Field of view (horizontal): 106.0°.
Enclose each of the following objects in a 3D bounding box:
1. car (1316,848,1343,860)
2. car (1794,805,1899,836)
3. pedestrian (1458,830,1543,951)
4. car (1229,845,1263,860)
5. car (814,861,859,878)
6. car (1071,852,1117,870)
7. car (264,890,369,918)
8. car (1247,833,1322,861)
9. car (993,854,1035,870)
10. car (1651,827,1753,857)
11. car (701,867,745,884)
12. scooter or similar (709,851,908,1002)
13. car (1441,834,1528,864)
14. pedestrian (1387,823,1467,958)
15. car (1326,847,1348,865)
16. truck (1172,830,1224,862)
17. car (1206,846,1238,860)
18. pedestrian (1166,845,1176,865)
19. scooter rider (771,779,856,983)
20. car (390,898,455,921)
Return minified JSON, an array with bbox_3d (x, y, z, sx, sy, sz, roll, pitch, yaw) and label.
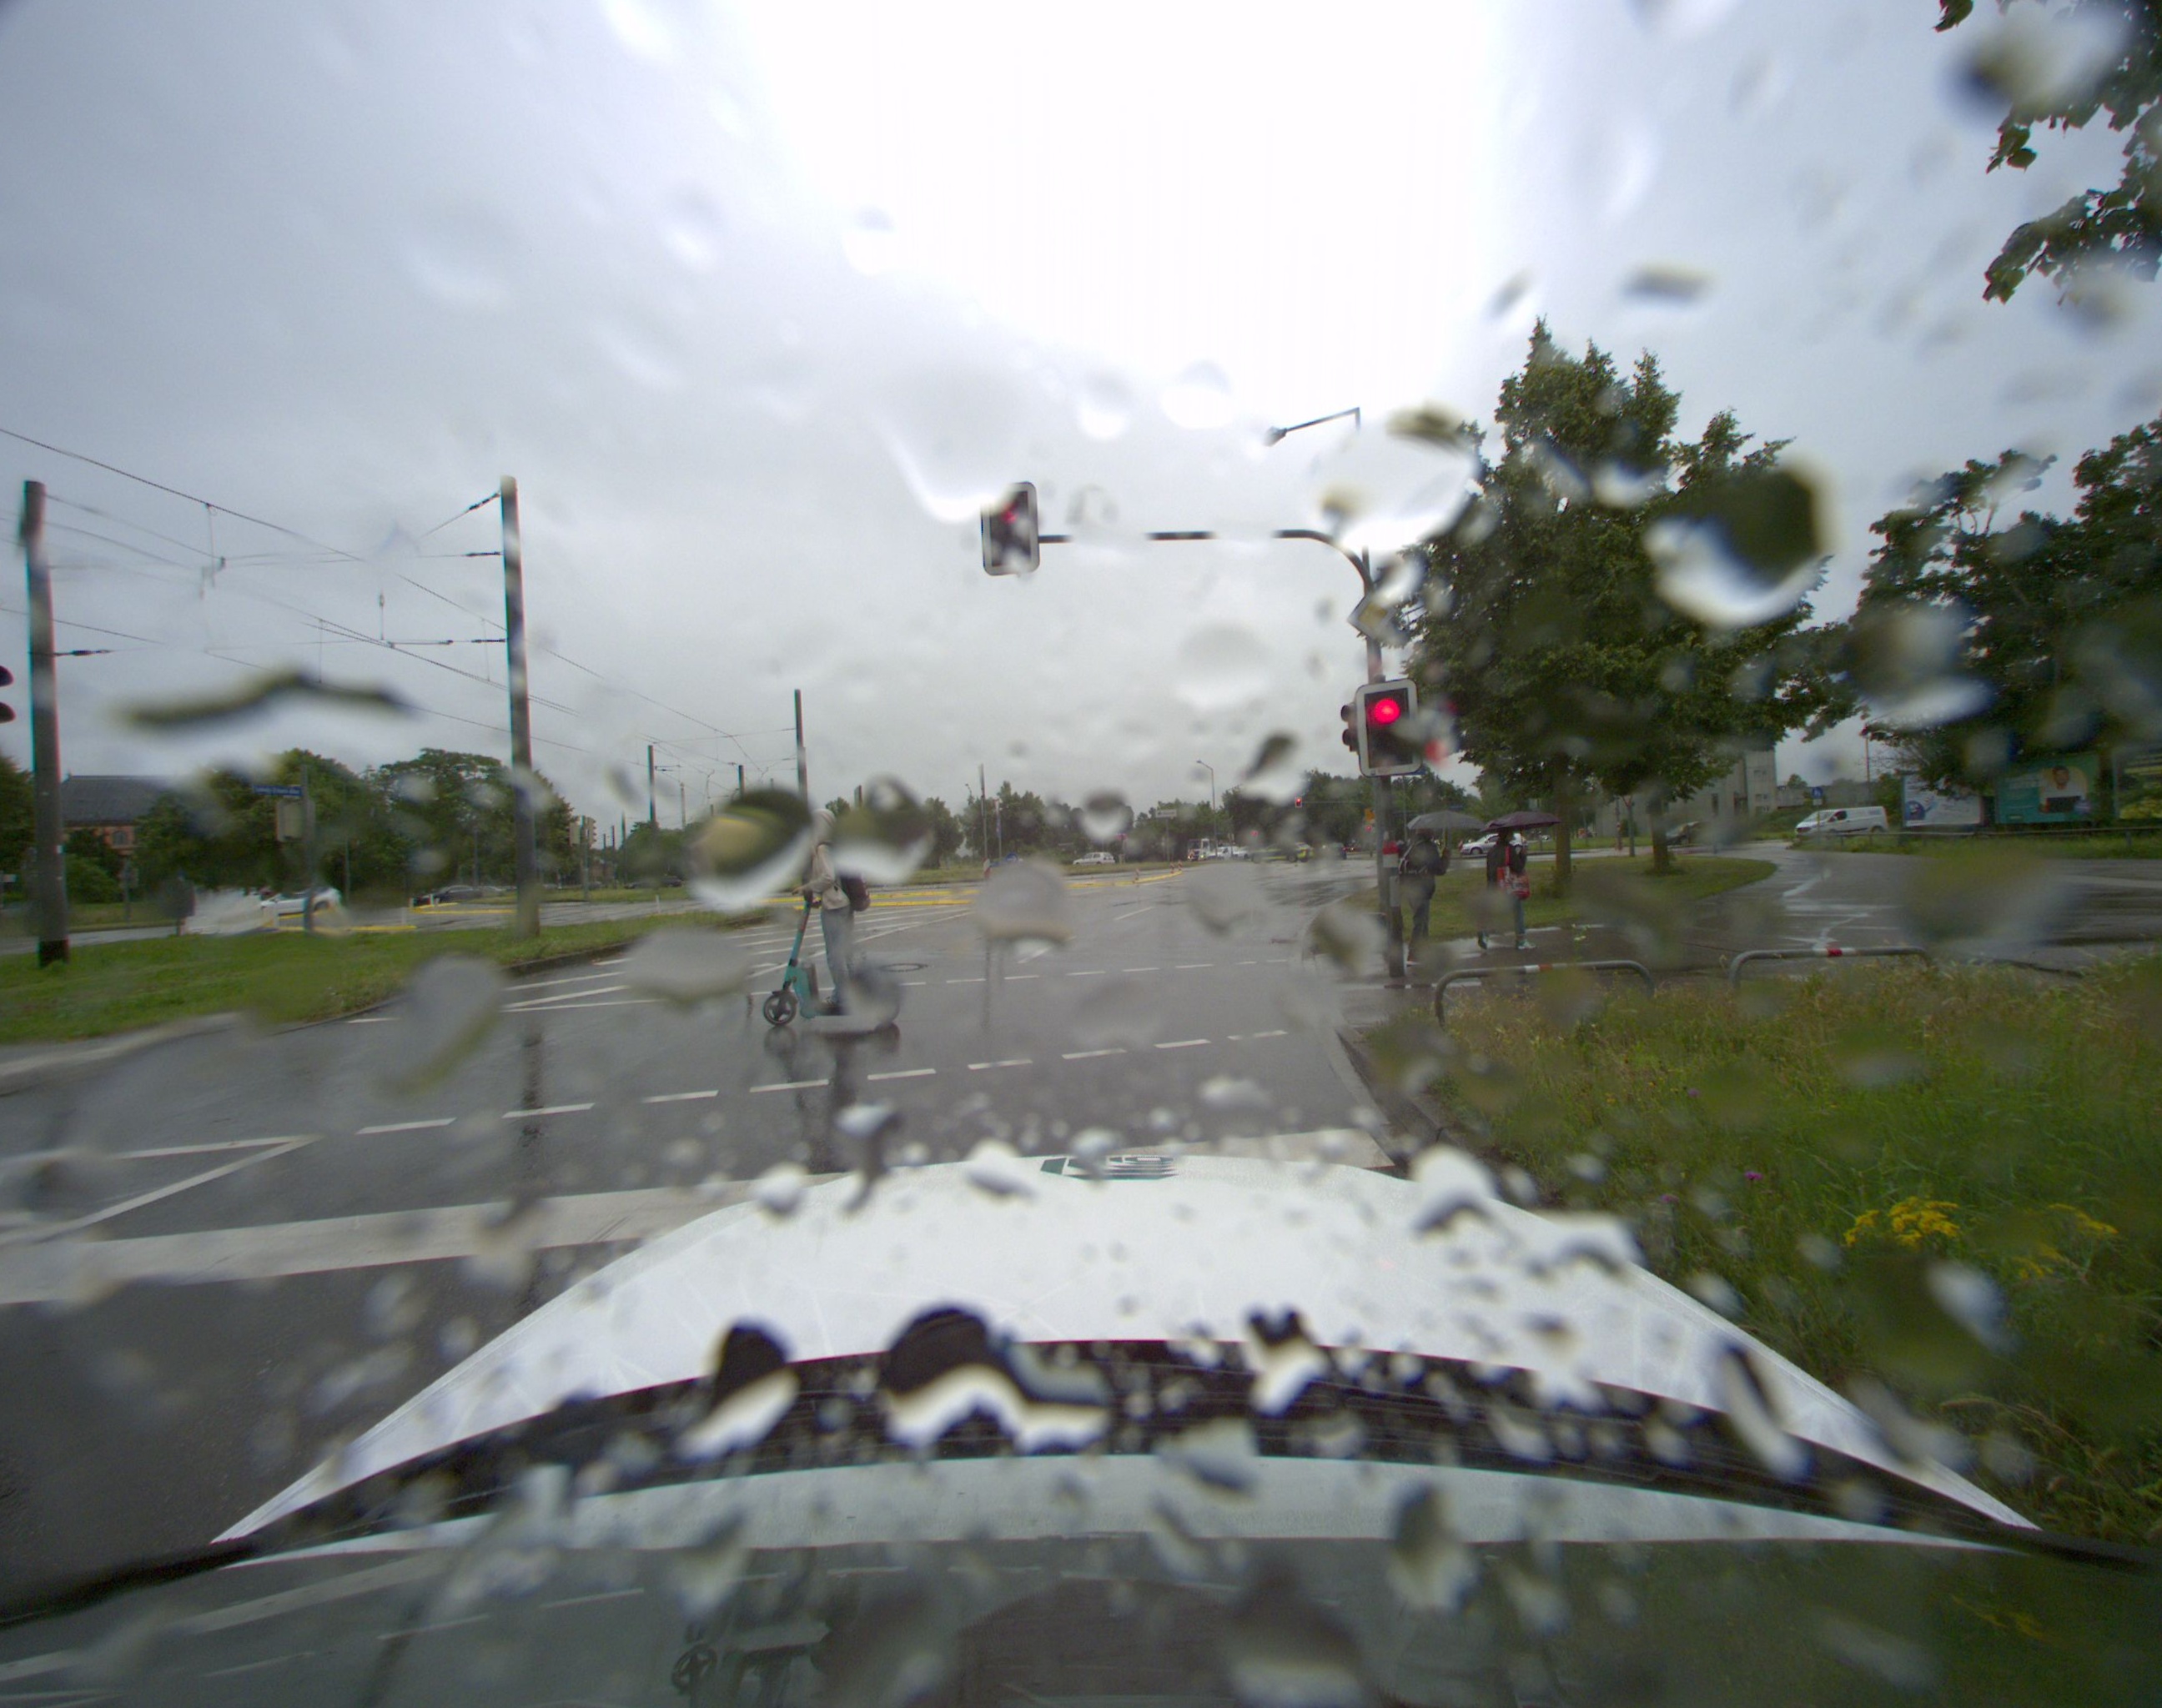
[{"bbox_3d":[33.911,0.006,111.086,1.779,1.662,4.436,-1,-1,43],"label":"car"},{"bbox_3d":[48.998,-2.115,52.215,4.739,1.851,2.002,0,-1,3],"label":"car"},{"bbox_3d":[5.310,0.452,10.343,0.678,1.461,0.573,-3,-1,-3],"label":"pedestrian"},{"bbox_3d":[19.193,-0.154,94.736,1.779,1.662,4.436,-1,-1,43],"label":"car"},{"bbox_3d":[-23.617,1.510,78.600,4.112,1.454,1.613,-2,0,-19],"label":"car"},{"bbox_3d":[1.140,0.644,73.522,3.936,1.454,1.634,-2,0,38],"label":"car"},{"bbox_3d":[-48.931,3.166,52.201,1.602,1.454,4.653,-2,0,35],"label":"car"},{"bbox_3d":[14.594,-0.484,58.512,4.714,1.851,2.013,-2,0,41],"label":"car"},{"bbox_3d":[-6.468,0.777,78.656,3.936,1.454,1.634,-2,0,38],"label":"car"},{"bbox_3d":[39.356,-0.740,51.731,4.732,1.851,2.005,0,-1,9],"label":"car"},{"bbox_3d":[-37.870,2.248,86.260,1.660,1.816,4.025,-1,-1,31],"label":"car"},{"bbox_3d":[-2.353,0.614,7.146,1.582,1.259,0.447,0,-1,-5],"label":"scooter or similar"},{"bbox_3d":[26.059,-0.307,52.714,4.726,1.851,2.007,0,-1,13],"label":"car"},{"bbox_3d":[4.072,0.417,9.616,0.619,1.522,0.741,-1,0,0],"label":"pedestrian"},{"bbox_3d":[22.316,0.114,71.087,1.606,1.454,4.003,-2,0,14],"label":"car"},{"bbox_3d":[10.818,-0.630,74.357,2.439,2.686,8.105,-1,-1,25],"label":"truck"},{"bbox_3d":[16.729,-0.118,96.416,1.779,1.662,4.159,-1,-1,43],"label":"car"},{"bbox_3d":[6.070,0.067,54.817,0.448,1.304,0.489,-3,0,40],"label":"pedestrian"},{"bbox_3d":[-2.337,0.230,7.156,0.530,1.709,0.433,-3,-1,-4],"label":"scooter rider"},{"bbox_3d":[-49.481,4.137,61.260,1.605,1.543,3.496,-1,-1,14],"label":"car"}]
